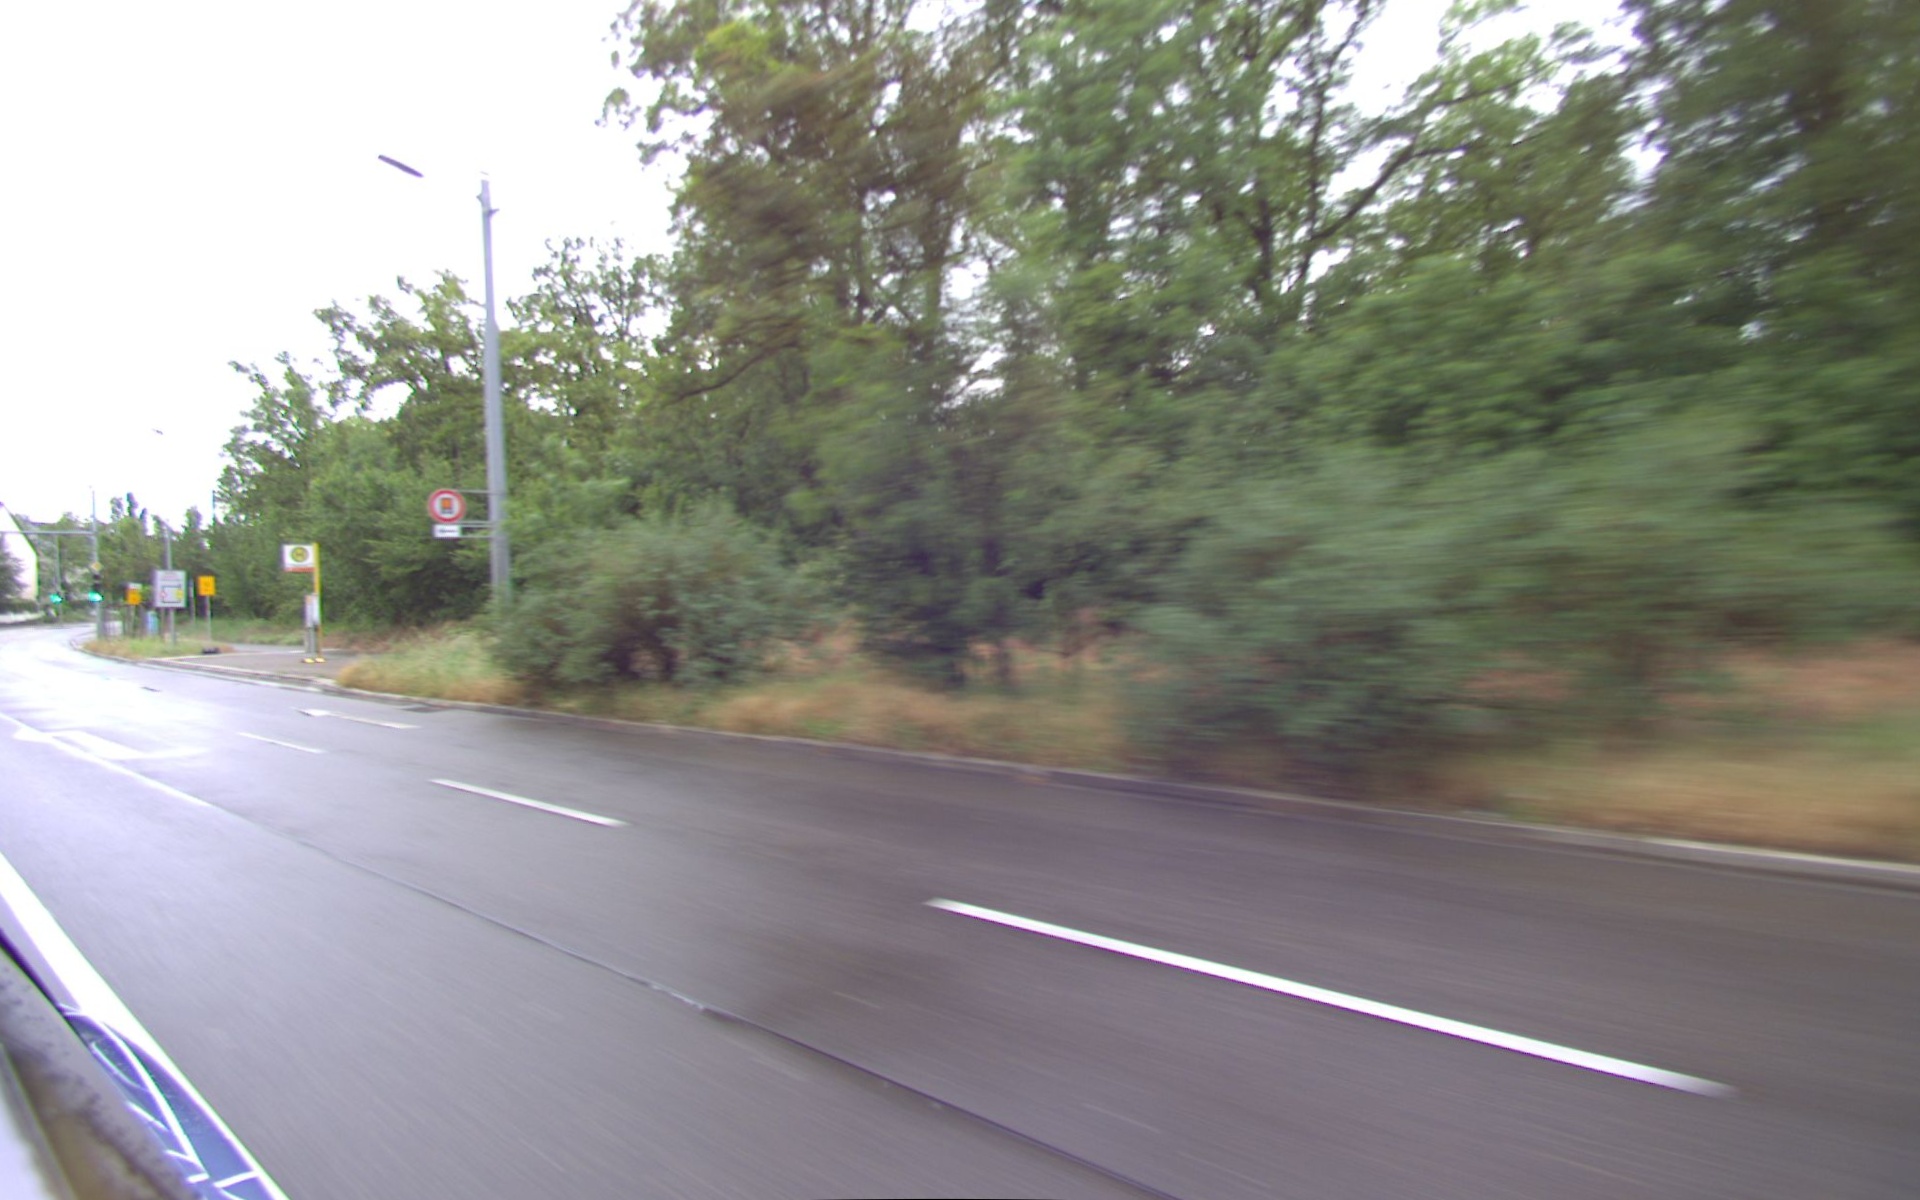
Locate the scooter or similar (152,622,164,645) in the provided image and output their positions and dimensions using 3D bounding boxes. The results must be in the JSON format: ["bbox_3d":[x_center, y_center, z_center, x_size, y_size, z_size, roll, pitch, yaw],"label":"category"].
[{"bbox_3d":[-45.701,1.907,57.675,0.511,1.221,1.472,-2,1,-38],"label":"scooter or similar"}]
